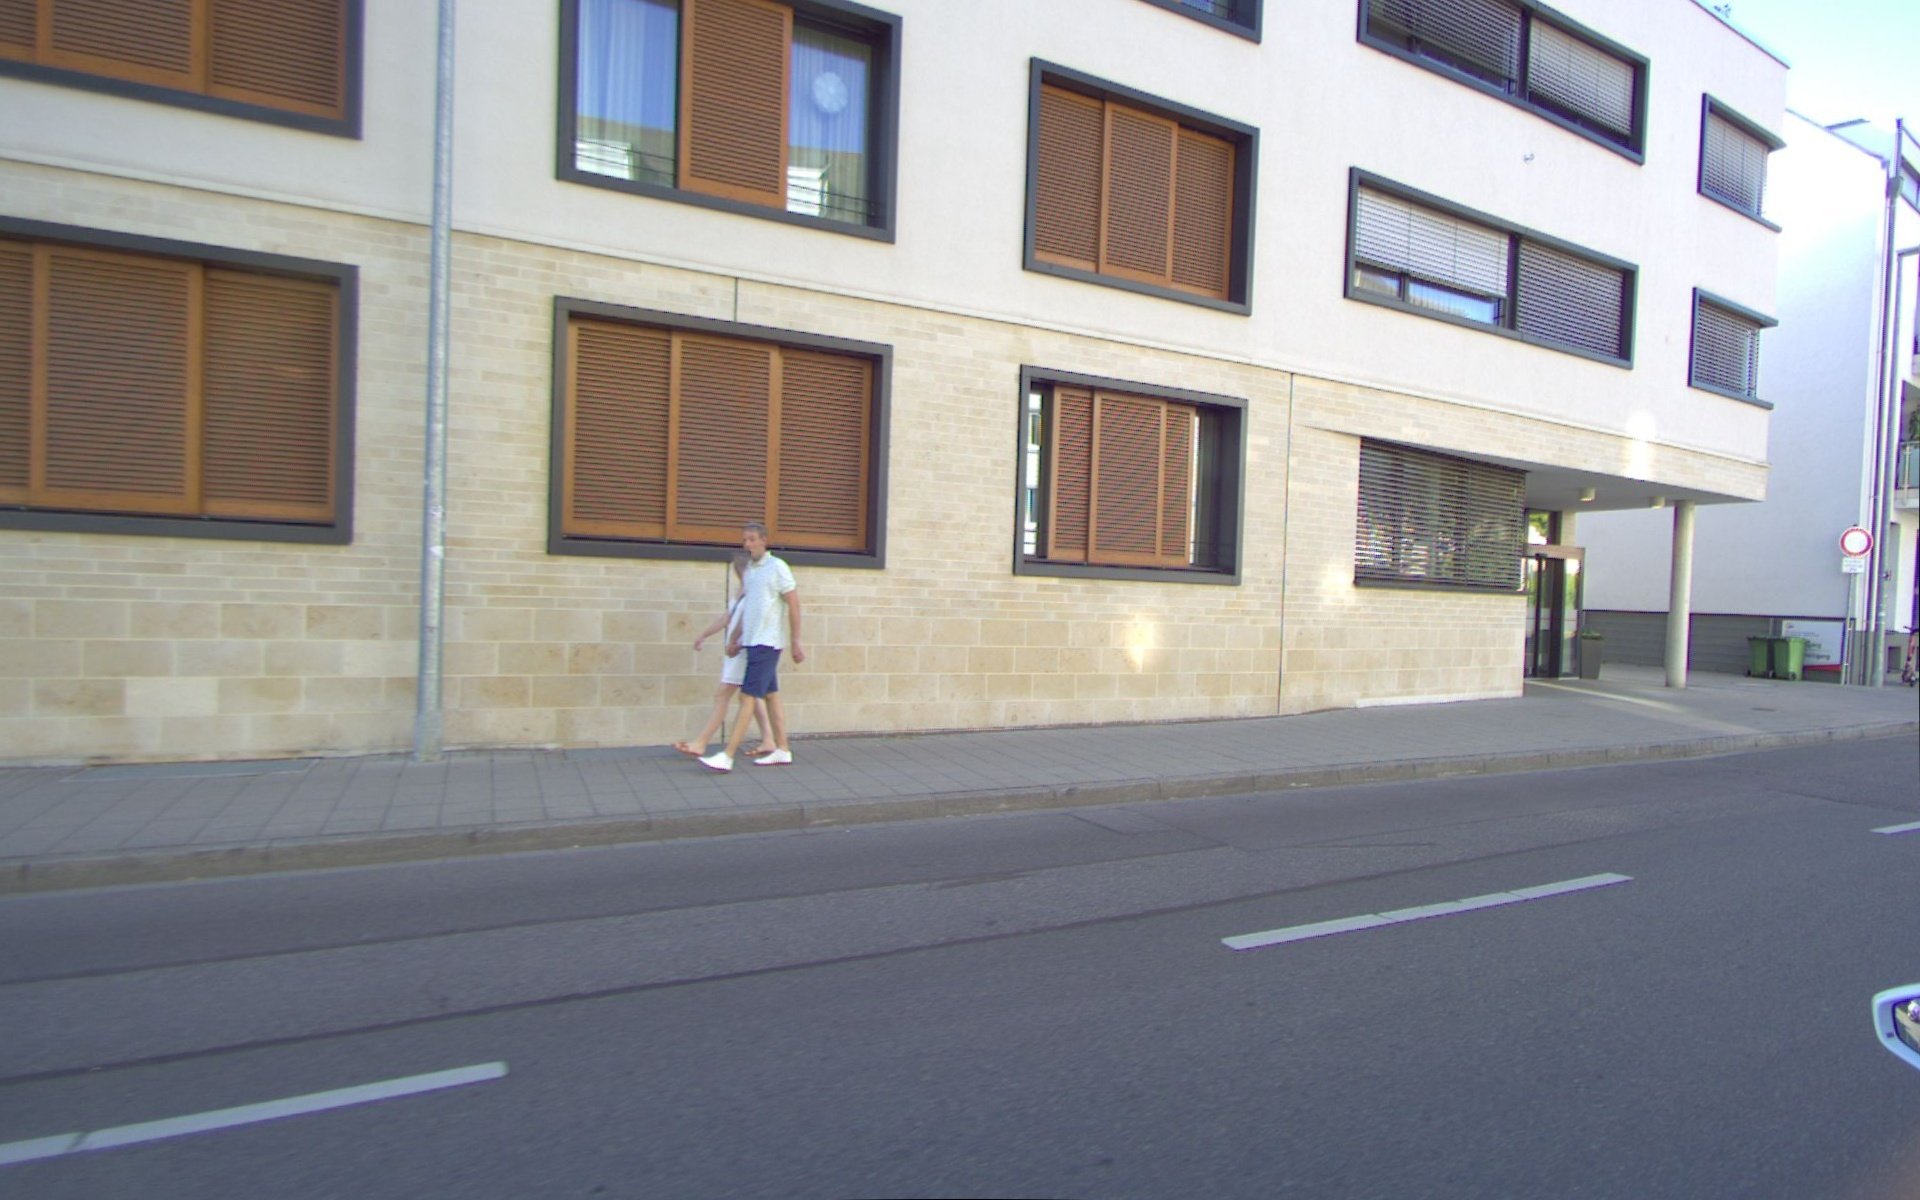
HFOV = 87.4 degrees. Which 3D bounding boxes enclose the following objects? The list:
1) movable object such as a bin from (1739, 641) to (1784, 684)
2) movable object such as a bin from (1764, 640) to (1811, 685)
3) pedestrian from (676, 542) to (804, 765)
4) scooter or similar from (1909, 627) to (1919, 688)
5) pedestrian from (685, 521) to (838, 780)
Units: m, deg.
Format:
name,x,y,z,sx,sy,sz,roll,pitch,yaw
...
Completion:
name,x,y,z,sx,sy,sz,roll,pitch,yaw
movable object such as a bin,17.664,1.373,22.141,0.521,0.913,0.548,2,1,-12
movable object such as a bin,17.769,1.347,21.581,0.521,0.913,0.548,2,1,-12
pedestrian,-1.830,0.421,8.312,0.832,1.737,0.699,2,1,-28
scooter or similar,20.301,1.213,21.255,0.222,1.236,1.149,3,2,41
pedestrian,-1.539,0.375,7.766,0.980,1.873,0.603,2,1,-28
